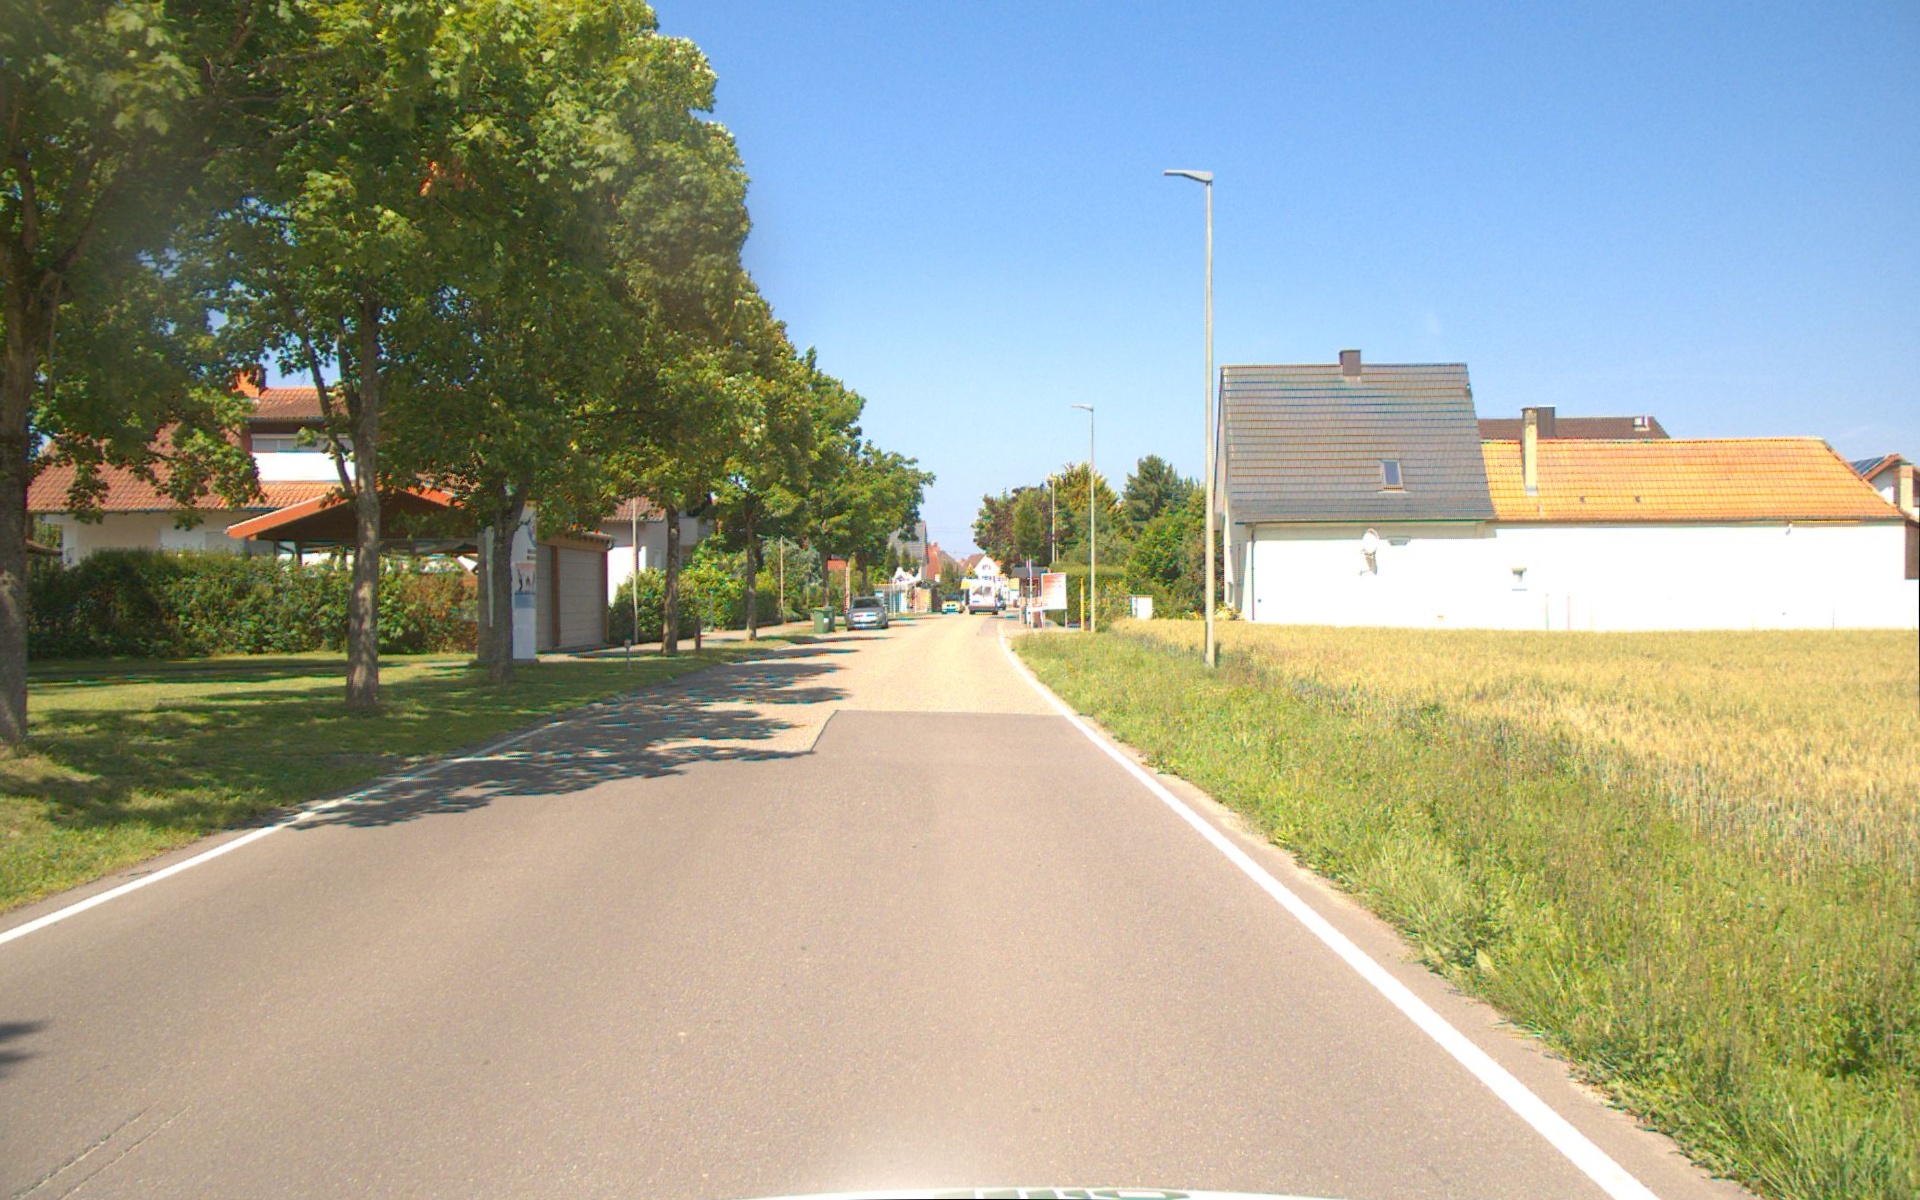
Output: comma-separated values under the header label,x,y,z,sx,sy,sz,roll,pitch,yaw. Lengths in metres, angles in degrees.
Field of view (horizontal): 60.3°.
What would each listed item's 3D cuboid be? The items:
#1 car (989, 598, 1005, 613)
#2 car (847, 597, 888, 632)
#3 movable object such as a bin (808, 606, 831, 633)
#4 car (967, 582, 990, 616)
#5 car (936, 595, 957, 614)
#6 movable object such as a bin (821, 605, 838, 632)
label,x,y,z,sx,sy,sz,roll,pitch,yaw
car,4.485,0.677,202.876,1.798,1.783,3.795,-1,0,-1
car,-4.127,0.637,73.977,1.614,1.448,4.079,-3,0,-1
movable object such as a bin,-5.815,0.806,68.576,0.699,1.097,0.639,-1,0,26
car,1.392,-0.096,123.621,1.702,2.474,4.375,-1,0,1
car,-1.139,0.382,138.949,1.632,1.550,3.441,-2,0,-2
movable object such as a bin,-5.466,0.775,69.293,0.562,1.097,0.599,-1,0,14
